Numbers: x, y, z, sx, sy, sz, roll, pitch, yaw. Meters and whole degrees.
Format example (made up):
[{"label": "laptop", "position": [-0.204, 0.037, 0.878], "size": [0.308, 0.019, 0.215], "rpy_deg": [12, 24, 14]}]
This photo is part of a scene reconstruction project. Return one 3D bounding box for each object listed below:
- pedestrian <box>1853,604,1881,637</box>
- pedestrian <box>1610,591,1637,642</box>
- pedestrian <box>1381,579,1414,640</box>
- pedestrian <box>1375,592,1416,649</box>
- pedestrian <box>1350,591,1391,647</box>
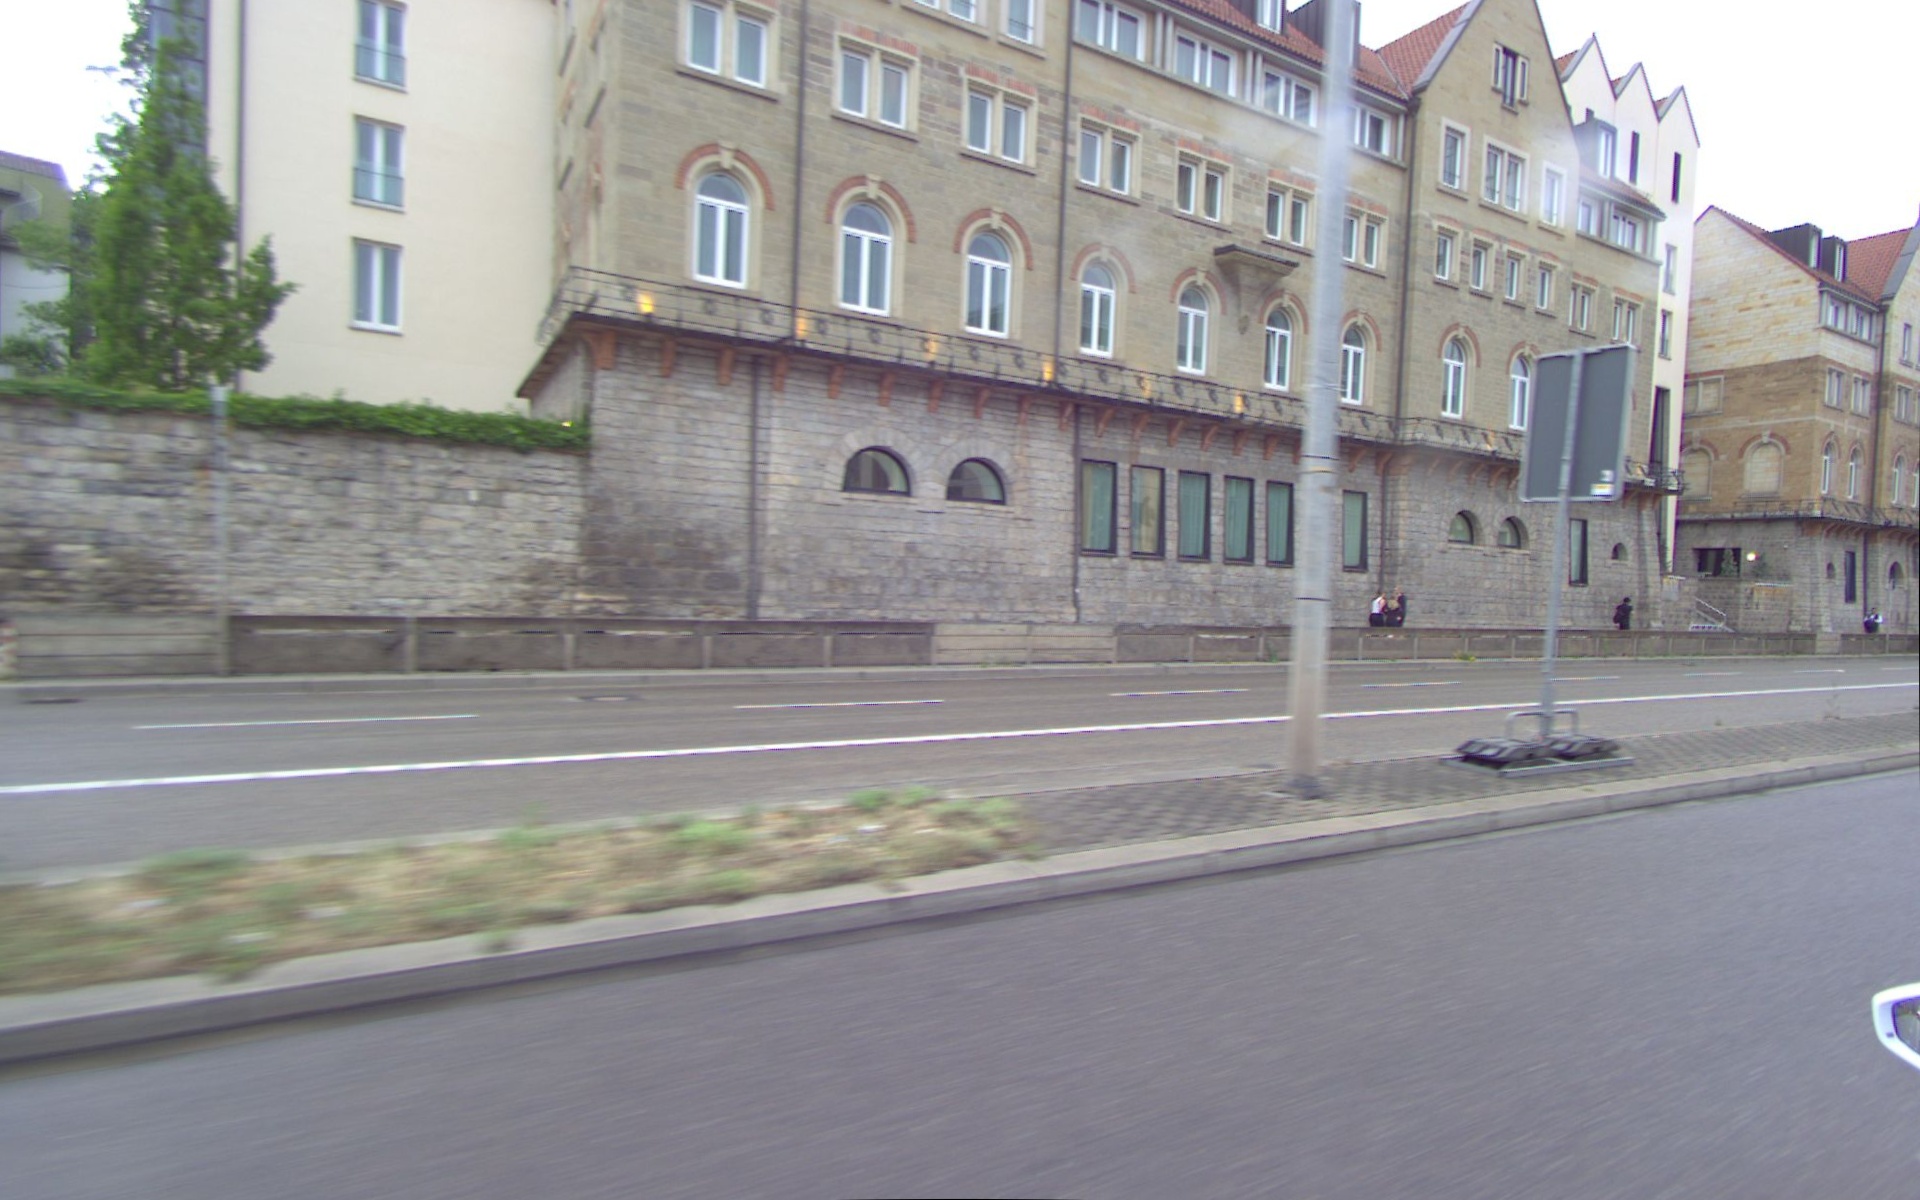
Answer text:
[{"label": "pedestrian", "position": [41.371, 0.934, 45.800], "size": [0.705, 1.498, 0.750], "rpy_deg": [-1, 1, -30]}, {"label": "pedestrian", "position": [23.549, 0.578, 35.641], "size": [0.616, 1.769, 0.635], "rpy_deg": [-1, 1, -40]}, {"label": "pedestrian", "position": [12.719, 0.267, 29.227], "size": [0.614, 1.769, 0.637], "rpy_deg": [-1, 1, -32]}, {"label": "pedestrian", "position": [11.635, 0.542, 26.846], "size": [0.705, 1.498, 0.750], "rpy_deg": [-1, 1, -30]}, {"label": "pedestrian", "position": [11.250, 0.514, 27.540], "size": [0.705, 1.498, 0.750], "rpy_deg": [-1, 1, -30]}]
